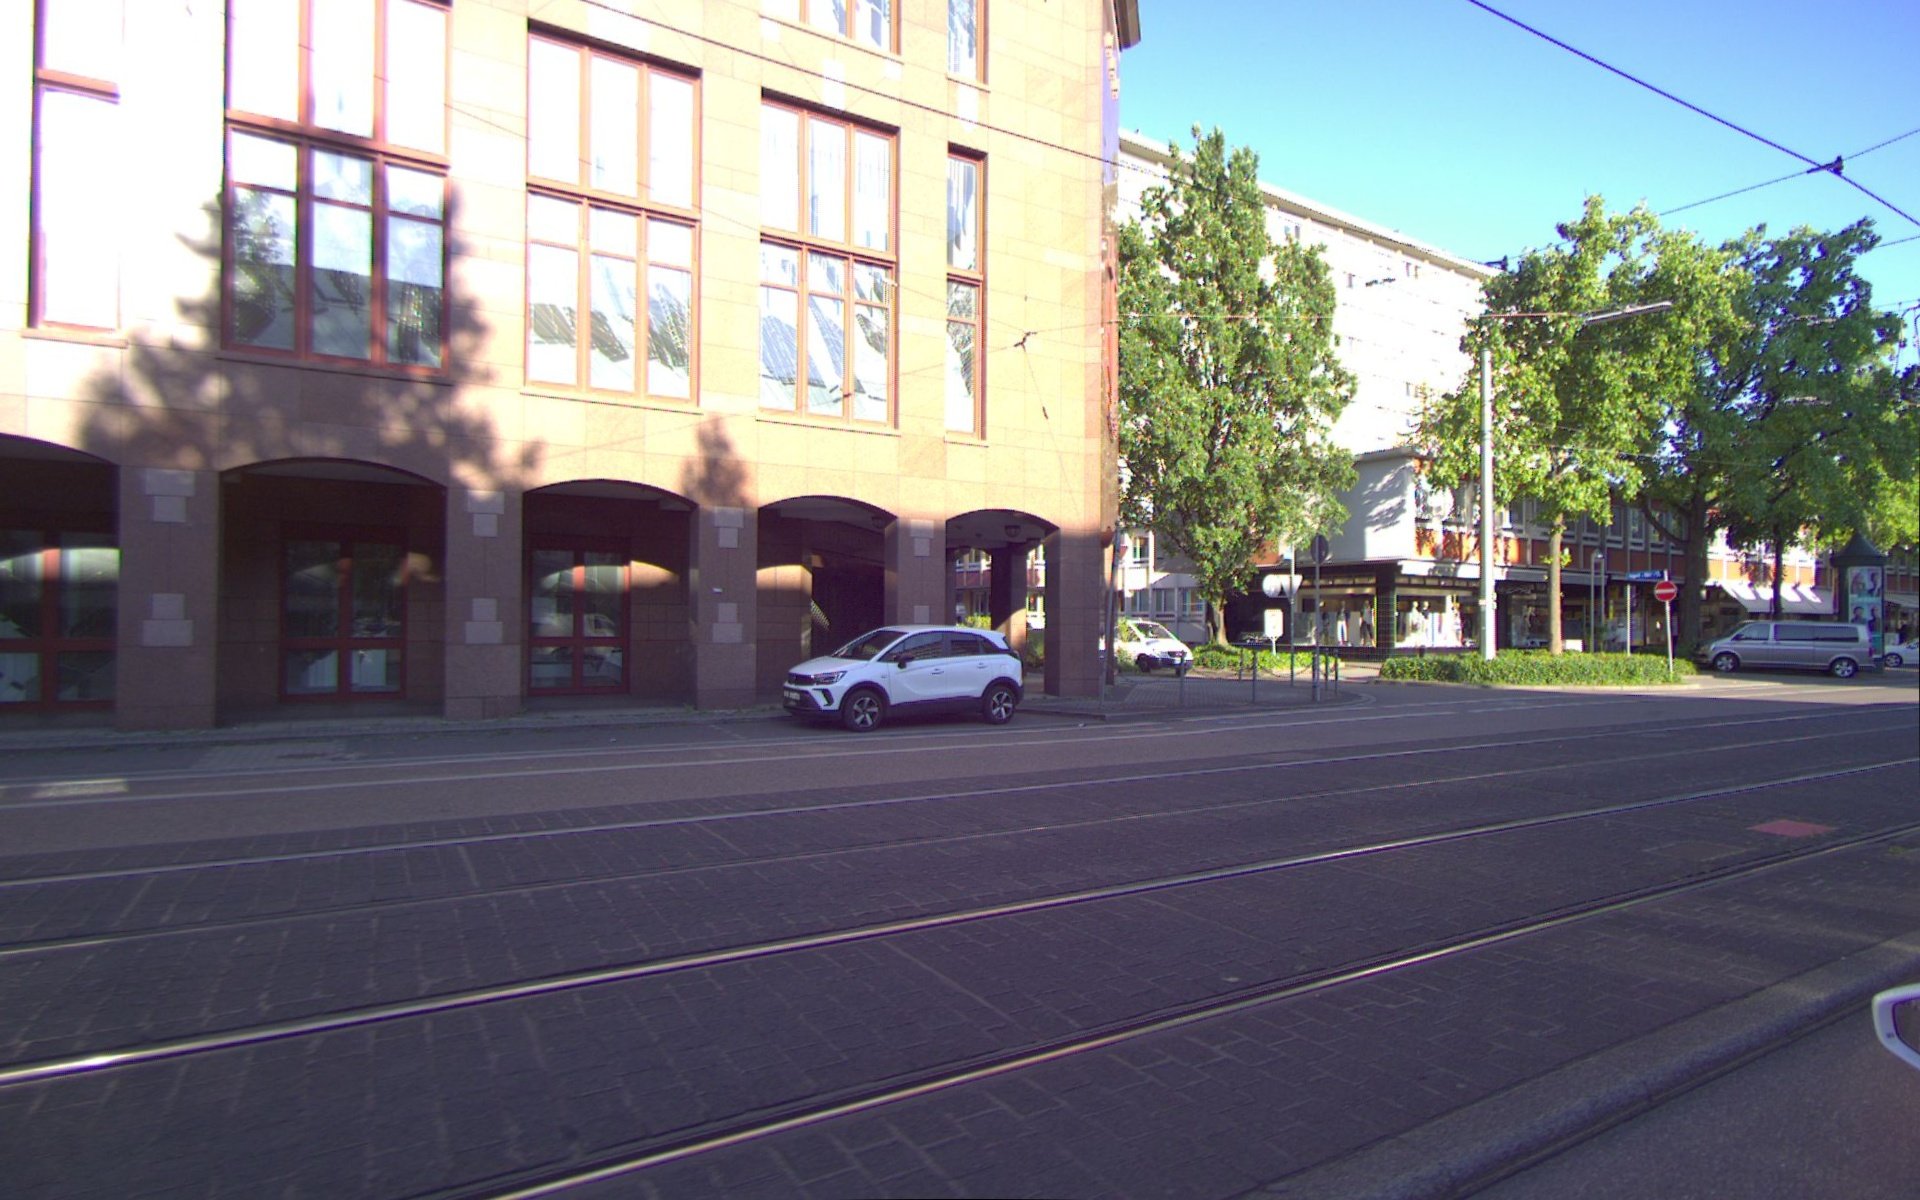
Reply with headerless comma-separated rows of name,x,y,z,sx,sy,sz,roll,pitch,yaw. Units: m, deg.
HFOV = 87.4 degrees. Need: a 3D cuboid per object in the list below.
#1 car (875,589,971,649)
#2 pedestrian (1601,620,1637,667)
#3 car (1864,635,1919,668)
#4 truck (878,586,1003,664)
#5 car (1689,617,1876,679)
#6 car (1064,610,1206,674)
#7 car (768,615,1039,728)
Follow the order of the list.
car,-2.244,1.244,61.901,5.570,3.455,2.125,3,-2,-32
pedestrian,27.176,1.786,41.433,0.903,1.902,0.899,1,-1,-10
car,46.187,2.510,47.916,4.193,1.448,1.763,2,0,30
truck,-0.708,0.950,38.039,4.486,2.800,1.838,1,-1,-35
car,30.340,1.719,37.290,5.028,1.954,1.851,2,0,29
car,6.015,1.430,35.160,2.109,1.993,4.952,5,-3,-32
car,-0.868,1.111,16.620,4.231,1.611,1.586,2,1,-33
